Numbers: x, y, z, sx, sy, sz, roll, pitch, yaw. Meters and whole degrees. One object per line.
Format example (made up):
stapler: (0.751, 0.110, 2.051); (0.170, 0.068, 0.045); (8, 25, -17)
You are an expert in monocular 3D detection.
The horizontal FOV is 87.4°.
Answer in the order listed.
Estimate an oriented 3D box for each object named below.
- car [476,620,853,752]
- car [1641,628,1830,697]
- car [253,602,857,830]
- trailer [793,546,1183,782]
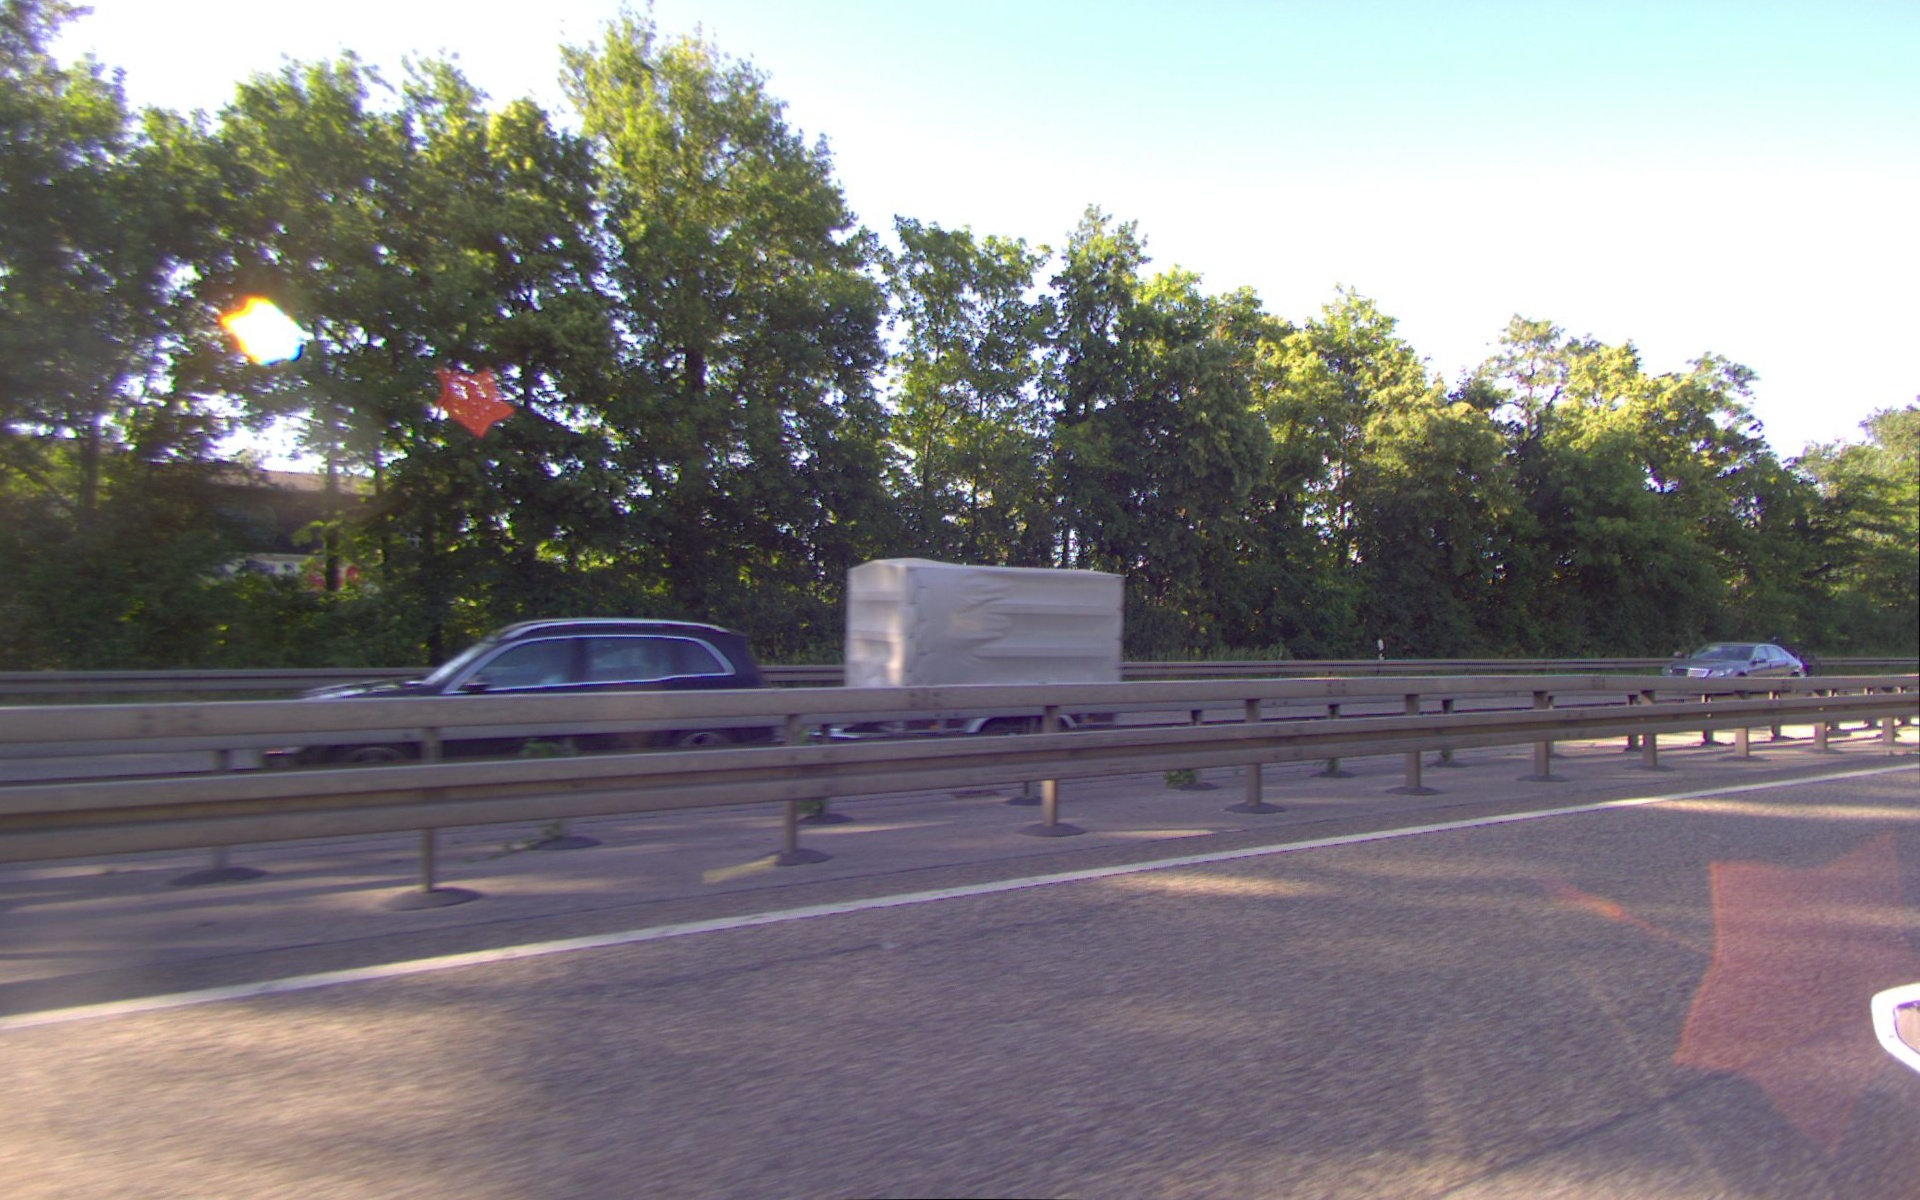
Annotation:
car: (-4.296, 1.169, 14.852); (4.999, 1.635, 2.061); (2, -1, -30)
car: (22.218, 1.738, 28.722); (5.803, 1.748, 2.111); (1, -1, -28)
car: (-3.814, 0.985, 10.065); (5.165, 1.771, 2.061); (1, -2, -32)
trailer: (0.421, 0.740, 12.572); (4.555, 2.469, 1.983); (1, -2, -32)
